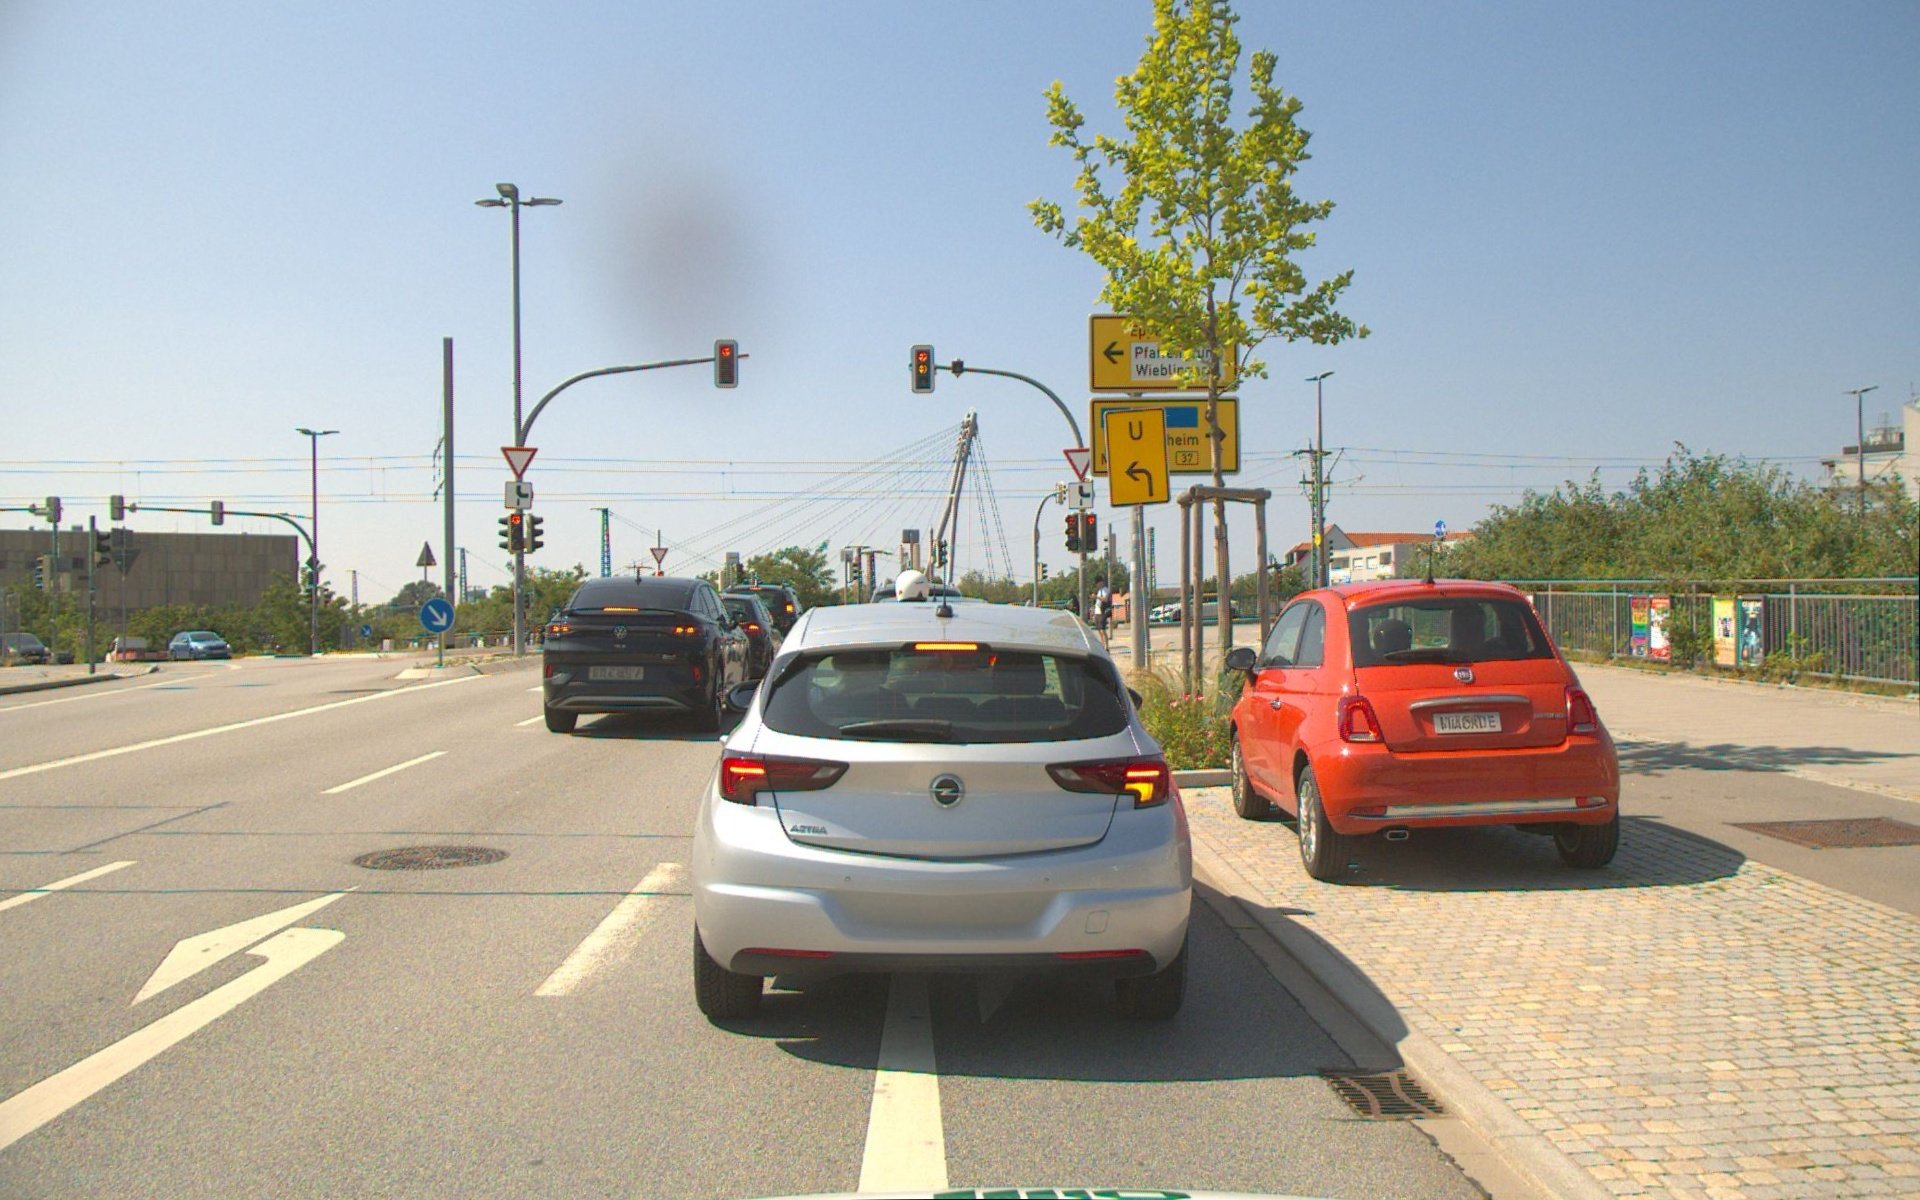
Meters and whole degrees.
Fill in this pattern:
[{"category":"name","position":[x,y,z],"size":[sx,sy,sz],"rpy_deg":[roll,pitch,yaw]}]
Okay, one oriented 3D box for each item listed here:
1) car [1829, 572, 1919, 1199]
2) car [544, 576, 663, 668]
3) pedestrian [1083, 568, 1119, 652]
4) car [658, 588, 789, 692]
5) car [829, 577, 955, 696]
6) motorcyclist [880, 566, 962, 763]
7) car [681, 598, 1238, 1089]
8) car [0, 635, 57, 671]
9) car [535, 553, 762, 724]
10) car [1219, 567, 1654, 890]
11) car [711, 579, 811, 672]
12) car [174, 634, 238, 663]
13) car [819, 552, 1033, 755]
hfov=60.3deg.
[{"category":"car","position":[2.919,0.634,1.903],"size":[1.627,1.451,3.999],"rpy_deg":[-2,0,-1]},{"category":"car","position":[-6.586,0.390,30.864],"size":[1.565,1.574,3.760],"rpy_deg":[1,0,-3]},{"category":"pedestrian","position":[3.179,0.224,37.420],"size":[0.634,1.868,0.797],"rpy_deg":[-2,0,-3]},{"category":"car","position":[-3.581,0.584,25.571],"size":[1.543,1.459,3.785],"rpy_deg":[1,0,-2]},{"category":"car","position":[-0.940,0.467,24.406],"size":[1.689,1.591,4.000],"rpy_deg":[1,1,-1]},{"category":"motorcyclist","position":[-0.292,0.467,12.273],"size":[0.570,1.413,0.706],"rpy_deg":[1,-1,-2]},{"category":"car","position":[-0.102,0.767,7.125],"size":[1.708,1.503,3.997],"rpy_deg":[1,0,-3]},{"category":"car","position":[-41.192,2.316,73.134],"size":[1.662,1.502,3.358],"rpy_deg":[-1,0,-39]},{"category":"car","position":[-3.346,0.393,18.570],"size":[1.765,1.670,4.365],"rpy_deg":[1,0,-1]},{"category":"car","position":[2.595,0.617,9.776],"size":[1.577,1.522,3.352],"rpy_deg":[-2,0,0]},{"category":"car","position":[-3.729,0.463,31.494],"size":[1.616,1.643,3.818],"rpy_deg":[1,0,-3]},{"category":"car","position":[-36.275,2.309,79.508],"size":[1.806,1.354,3.941],"rpy_deg":[1,-2,-40]},{"category":"car","position":[-0.347,0.466,17.549],"size":[1.953,1.852,4.401],"rpy_deg":[1,1,-1]}]
